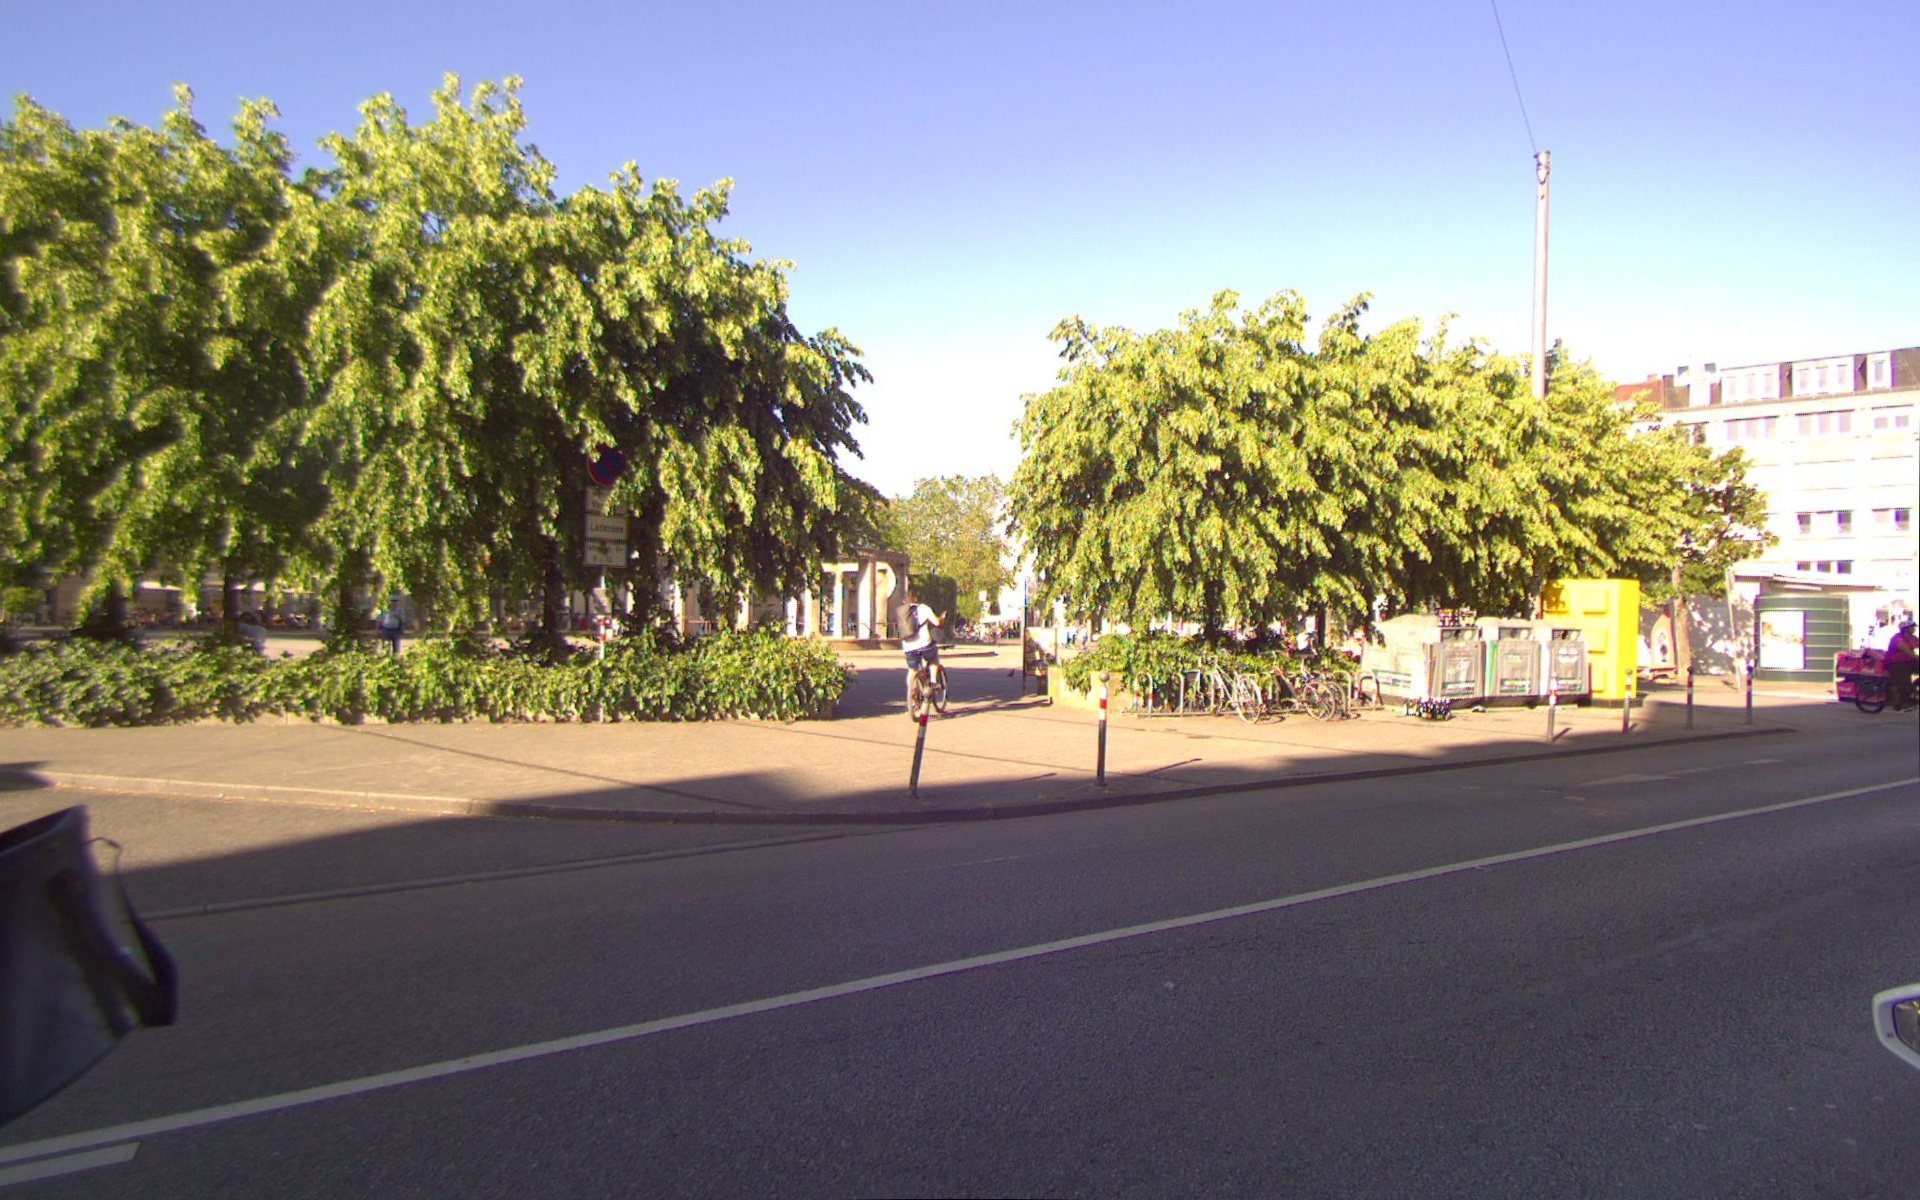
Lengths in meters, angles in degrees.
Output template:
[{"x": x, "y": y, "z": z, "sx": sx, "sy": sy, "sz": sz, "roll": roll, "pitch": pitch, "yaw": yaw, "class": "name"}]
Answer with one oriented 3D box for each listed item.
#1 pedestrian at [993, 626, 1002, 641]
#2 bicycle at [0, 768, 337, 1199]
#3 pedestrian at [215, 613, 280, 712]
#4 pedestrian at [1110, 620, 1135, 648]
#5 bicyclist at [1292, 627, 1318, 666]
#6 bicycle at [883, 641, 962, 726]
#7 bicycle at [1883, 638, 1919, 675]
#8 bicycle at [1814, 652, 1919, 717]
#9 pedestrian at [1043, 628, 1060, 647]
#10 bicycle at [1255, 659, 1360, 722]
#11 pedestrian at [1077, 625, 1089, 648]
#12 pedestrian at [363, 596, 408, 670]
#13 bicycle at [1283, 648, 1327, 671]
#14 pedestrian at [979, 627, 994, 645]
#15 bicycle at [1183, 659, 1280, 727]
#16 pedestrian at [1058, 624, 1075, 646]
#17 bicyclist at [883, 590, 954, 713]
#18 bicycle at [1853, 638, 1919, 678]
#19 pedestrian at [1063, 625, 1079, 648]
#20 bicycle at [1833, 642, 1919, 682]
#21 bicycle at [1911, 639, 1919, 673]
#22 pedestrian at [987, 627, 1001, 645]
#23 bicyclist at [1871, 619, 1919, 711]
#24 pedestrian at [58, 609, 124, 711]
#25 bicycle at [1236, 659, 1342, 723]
[{"x": 3.895, "y": 3.511, "z": 104.444, "sx": 0.744, "sy": 1.557, "sz": 0.673, "roll": 2, "pitch": 0, "yaw": -12, "class": "pedestrian"}, {"x": -1.707, "y": 0.857, "z": 0.815, "sx": 1.976, "sy": 1.239, "sz": 0.625, "roll": 2, "pitch": 0, "yaw": -29, "class": "bicycle"}, {"x": -10.857, "y": 0.936, "z": 15.301, "sx": 0.581, "sy": 1.456, "sz": 0.615, "roll": 2, "pitch": 0, "yaw": 33, "class": "pedestrian"}, {"x": 11.516, "y": 2.410, "z": 71.117, "sx": 1.282, "sy": 1.867, "sz": 1.096, "roll": 2, "pitch": 0, "yaw": -24, "class": "pedestrian"}, {"x": 12.775, "y": 1.730, "z": 37.205, "sx": 0.566, "sy": 1.399, "sz": 0.706, "roll": 2, "pitch": -3, "yaw": -17, "class": "bicyclist"}, {"x": -0.525, "y": 1.205, "z": 15.019, "sx": 0.593, "sy": 1.116, "sz": 1.990, "roll": 2, "pitch": 0, "yaw": 15, "class": "bicycle"}, {"x": 35.257, "y": 2.088, "z": 36.130, "sx": 0.932, "sy": 1.287, "sz": 2.859, "roll": 2, "pitch": 0, "yaw": -32, "class": "bicycle"}, {"x": 18.778, "y": 1.702, "z": 20.197, "sx": 0.702, "sy": 1.166, "sz": 2.385, "roll": 2, "pitch": 0, "yaw": -23, "class": "bicycle"}, {"x": 6.364, "y": 2.609, "z": 69.899, "sx": 0.885, "sy": 1.230, "sz": 0.864, "roll": 2, "pitch": 0, "yaw": 34, "class": "pedestrian"}, {"x": 5.668, "y": 1.456, "z": 16.480, "sx": 0.465, "sy": 0.870, "sz": 1.654, "roll": 2, "pitch": 0, "yaw": -35, "class": "bicycle"}, {"x": 8.431, "y": 2.509, "z": 68.825, "sx": 0.761, "sy": 1.541, "sz": 0.838, "roll": 2, "pitch": 0, "yaw": 6, "class": "pedestrian"}, {"x": -12.341, "y": 0.697, "z": 21.569, "sx": 0.688, "sy": 1.541, "sz": 0.676, "roll": 2, "pitch": 0, "yaw": -41, "class": "pedestrian"}, {"x": 12.760, "y": 2.193, "z": 37.173, "sx": 0.571, "sy": 0.834, "sz": 1.853, "roll": 1, "pitch": -3, "yaw": -17, "class": "bicycle"}, {"x": 2.318, "y": 3.141, "z": 87.294, "sx": 0.867, "sy": 1.497, "sz": 0.940, "roll": 2, "pitch": 0, "yaw": 42, "class": "pedestrian"}, {"x": 4.169, "y": 1.413, "z": 15.526, "sx": 0.464, "sy": 0.897, "sz": 1.558, "roll": 2, "pitch": 0, "yaw": -29, "class": "bicycle"}, {"x": 7.734, "y": 2.545, "z": 72.883, "sx": 1.003, "sy": 1.541, "sz": 1.036, "roll": 2, "pitch": 0, "yaw": 15, "class": "pedestrian"}, {"x": -0.596, "y": 0.741, "z": 14.753, "sx": 0.772, "sy": 1.722, "sz": 0.896, "roll": 2, "pitch": 0, "yaw": 14, "class": "bicyclist"}, {"x": 33.138, "y": 2.044, "z": 35.064, "sx": 0.923, "sy": 1.291, "sz": 2.764, "roll": 2, "pitch": 0, "yaw": -32, "class": "bicycle"}, {"x": 7.666, "y": 2.487, "z": 69.109, "sx": 0.904, "sy": 1.541, "sz": 0.936, "roll": 2, "pitch": 0, "yaw": 15, "class": "pedestrian"}, {"x": 31.216, "y": 2.067, "z": 33.762, "sx": 0.932, "sy": 1.211, "sz": 2.645, "roll": 2, "pitch": 0, "yaw": -32, "class": "bicycle"}, {"x": 37.241, "y": 2.159, "z": 37.274, "sx": 0.932, "sy": 1.276, "sz": 2.648, "roll": 2, "pitch": 0, "yaw": -32, "class": "bicycle"}, {"x": 2.906, "y": 3.103, "z": 86.341, "sx": 0.867, "sy": 1.557, "sz": 0.894, "roll": 2, "pitch": 0, "yaw": 33, "class": "pedestrian"}, {"x": 18.867, "y": 1.284, "z": 19.994, "sx": 0.671, "sy": 1.778, "sz": 0.862, "roll": 2, "pitch": -1, "yaw": -23, "class": "bicyclist"}, {"x": -12.864, "y": 0.873, "z": 14.884, "sx": 0.615, "sy": 1.456, "sz": 0.647, "roll": 2, "pitch": 0, "yaw": -32, "class": "pedestrian"}, {"x": 5.269, "y": 1.446, "z": 16.185, "sx": 0.465, "sy": 0.870, "sz": 1.659, "roll": 2, "pitch": 0, "yaw": -35, "class": "bicycle"}]
